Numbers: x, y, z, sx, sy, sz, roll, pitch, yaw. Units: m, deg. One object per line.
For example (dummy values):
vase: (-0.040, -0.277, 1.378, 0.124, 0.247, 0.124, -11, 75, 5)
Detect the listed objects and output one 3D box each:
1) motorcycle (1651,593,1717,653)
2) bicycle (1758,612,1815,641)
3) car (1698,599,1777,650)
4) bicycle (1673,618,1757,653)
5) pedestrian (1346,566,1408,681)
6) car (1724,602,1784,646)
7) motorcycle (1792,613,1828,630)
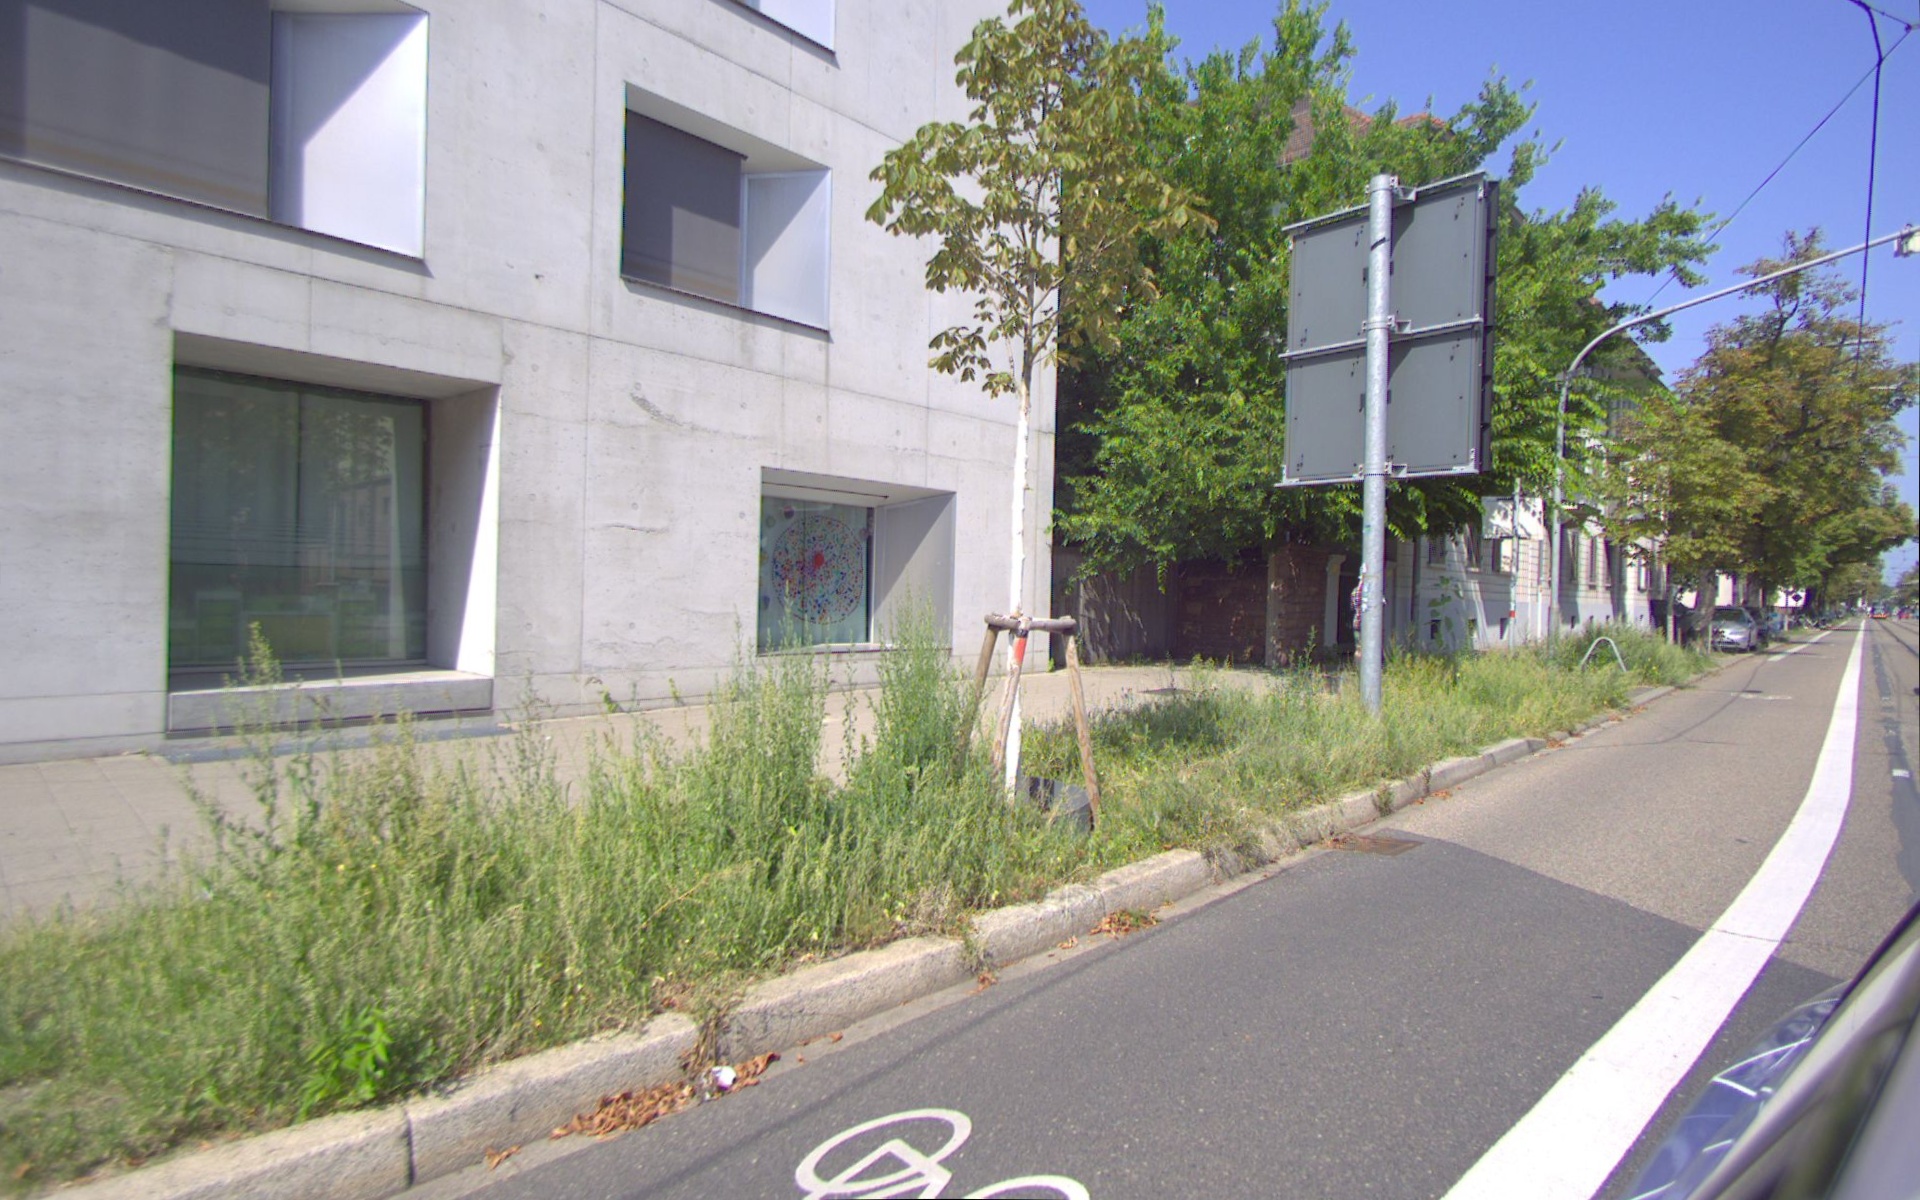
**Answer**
motorcycle: (20.092, 0.626, 28.060, 2.368, 1.572, 0.888, 1, 1, -40)
bicycle: (33.804, 1.069, 41.409, 1.754, 1.137, 0.645, 2, 0, 43)
car: (25.227, 0.751, 32.766, 1.781, 1.468, 4.681, 3, 1, 40)
bicycle: (22.705, 1.050, 30.458, 0.709, 0.964, 1.924, 1, 0, -44)
pedestrian: (6.531, 0.357, 15.847, 0.570, 1.754, 0.692, 2, 0, -45)
car: (30.264, 0.875, 38.583, 1.660, 1.526, 4.372, 3, 1, 39)
motorcycle: (63.128, 1.589, 75.164, 1.995, 1.027, 0.784, 6, 3, 43)
